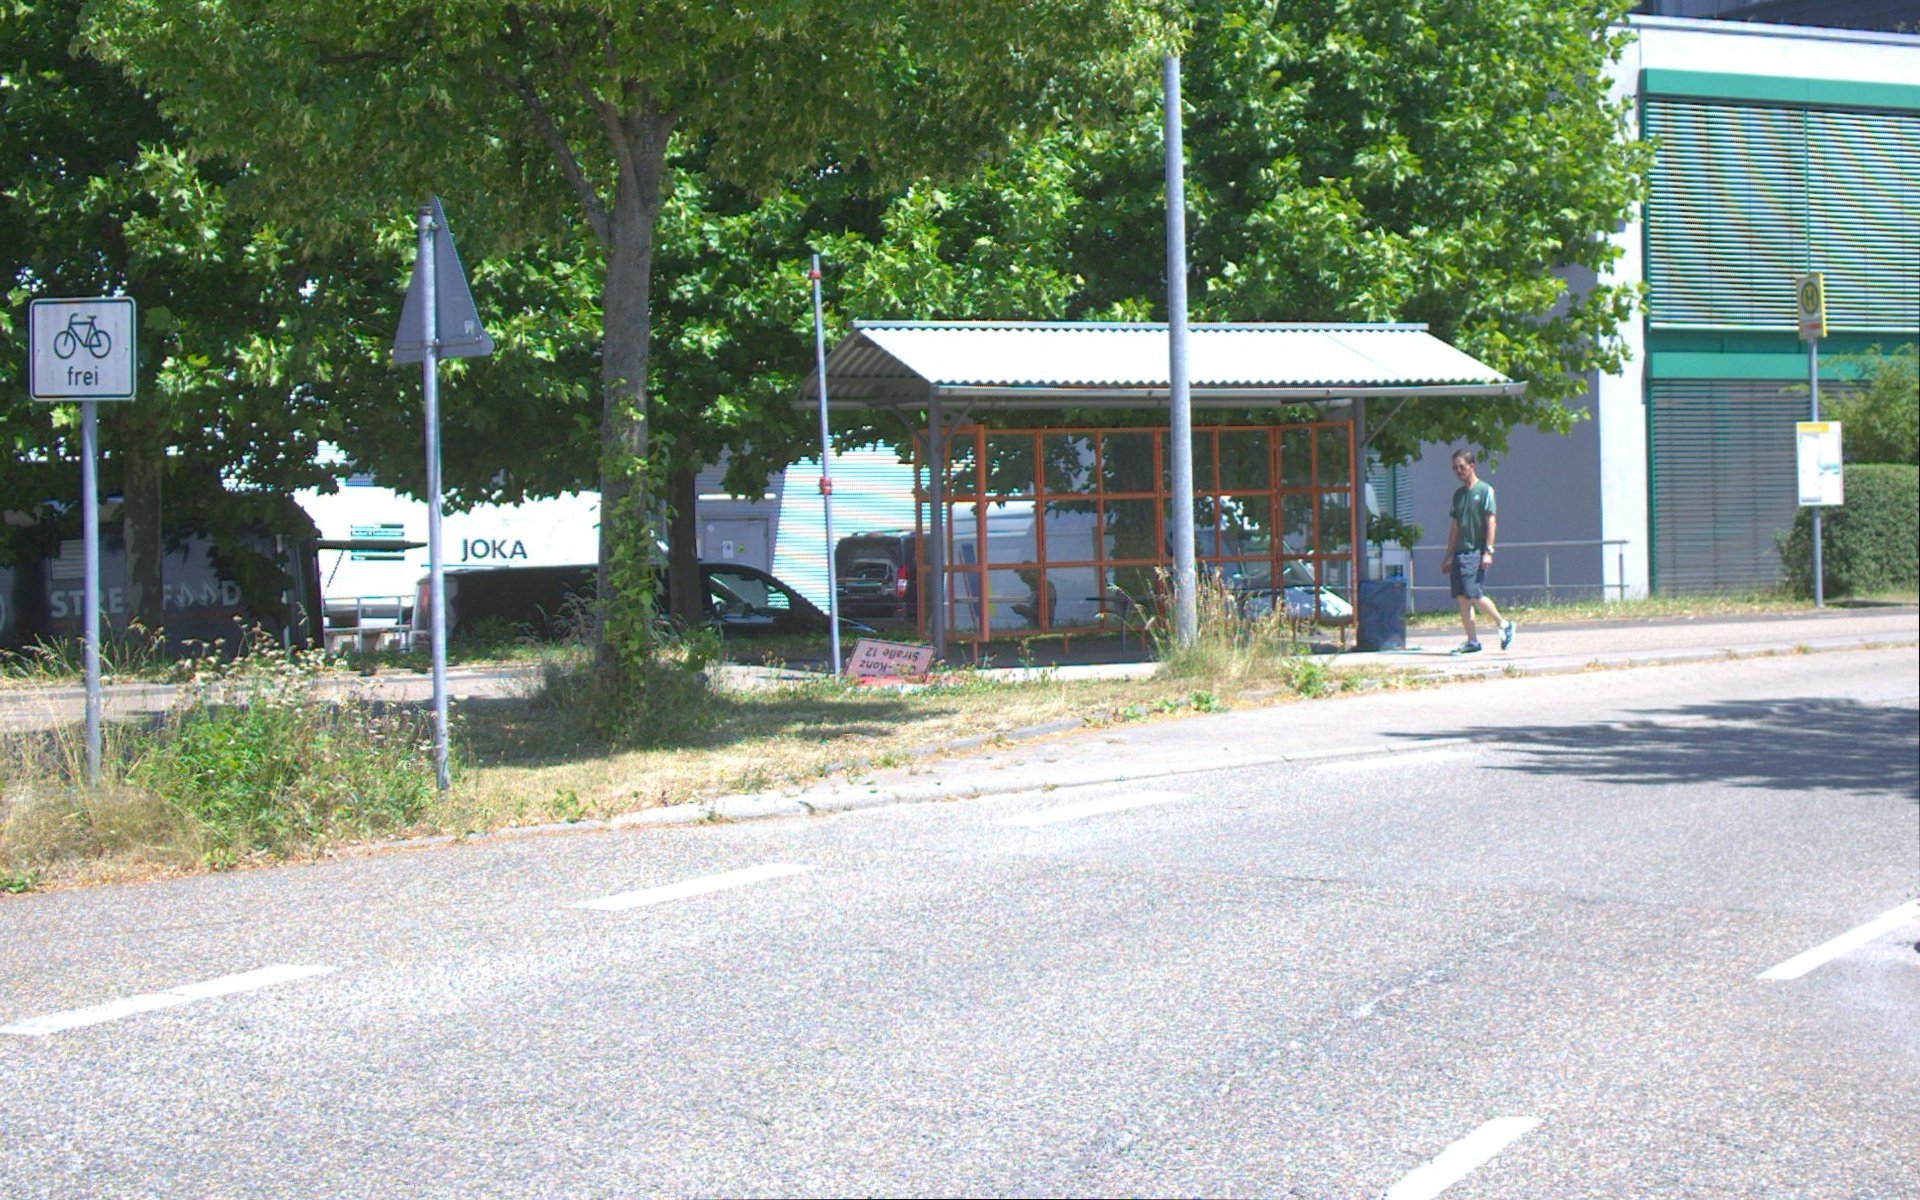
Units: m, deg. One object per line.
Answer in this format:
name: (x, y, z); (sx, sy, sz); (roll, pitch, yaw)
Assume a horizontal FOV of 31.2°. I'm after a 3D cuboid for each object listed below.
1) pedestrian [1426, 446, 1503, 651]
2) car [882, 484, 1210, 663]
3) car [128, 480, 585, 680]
pedestrian: (4.149, -0.418, 28.293); (0.529, 1.664, 0.579); (0, -1, 0)
car: (0.973, -0.265, 41.244); (1.544, 2.007, 4.264); (1, -2, -38)
car: (-5.914, -0.210, 33.707); (3.986, 1.722, 1.841); (-3, 1, -26)
